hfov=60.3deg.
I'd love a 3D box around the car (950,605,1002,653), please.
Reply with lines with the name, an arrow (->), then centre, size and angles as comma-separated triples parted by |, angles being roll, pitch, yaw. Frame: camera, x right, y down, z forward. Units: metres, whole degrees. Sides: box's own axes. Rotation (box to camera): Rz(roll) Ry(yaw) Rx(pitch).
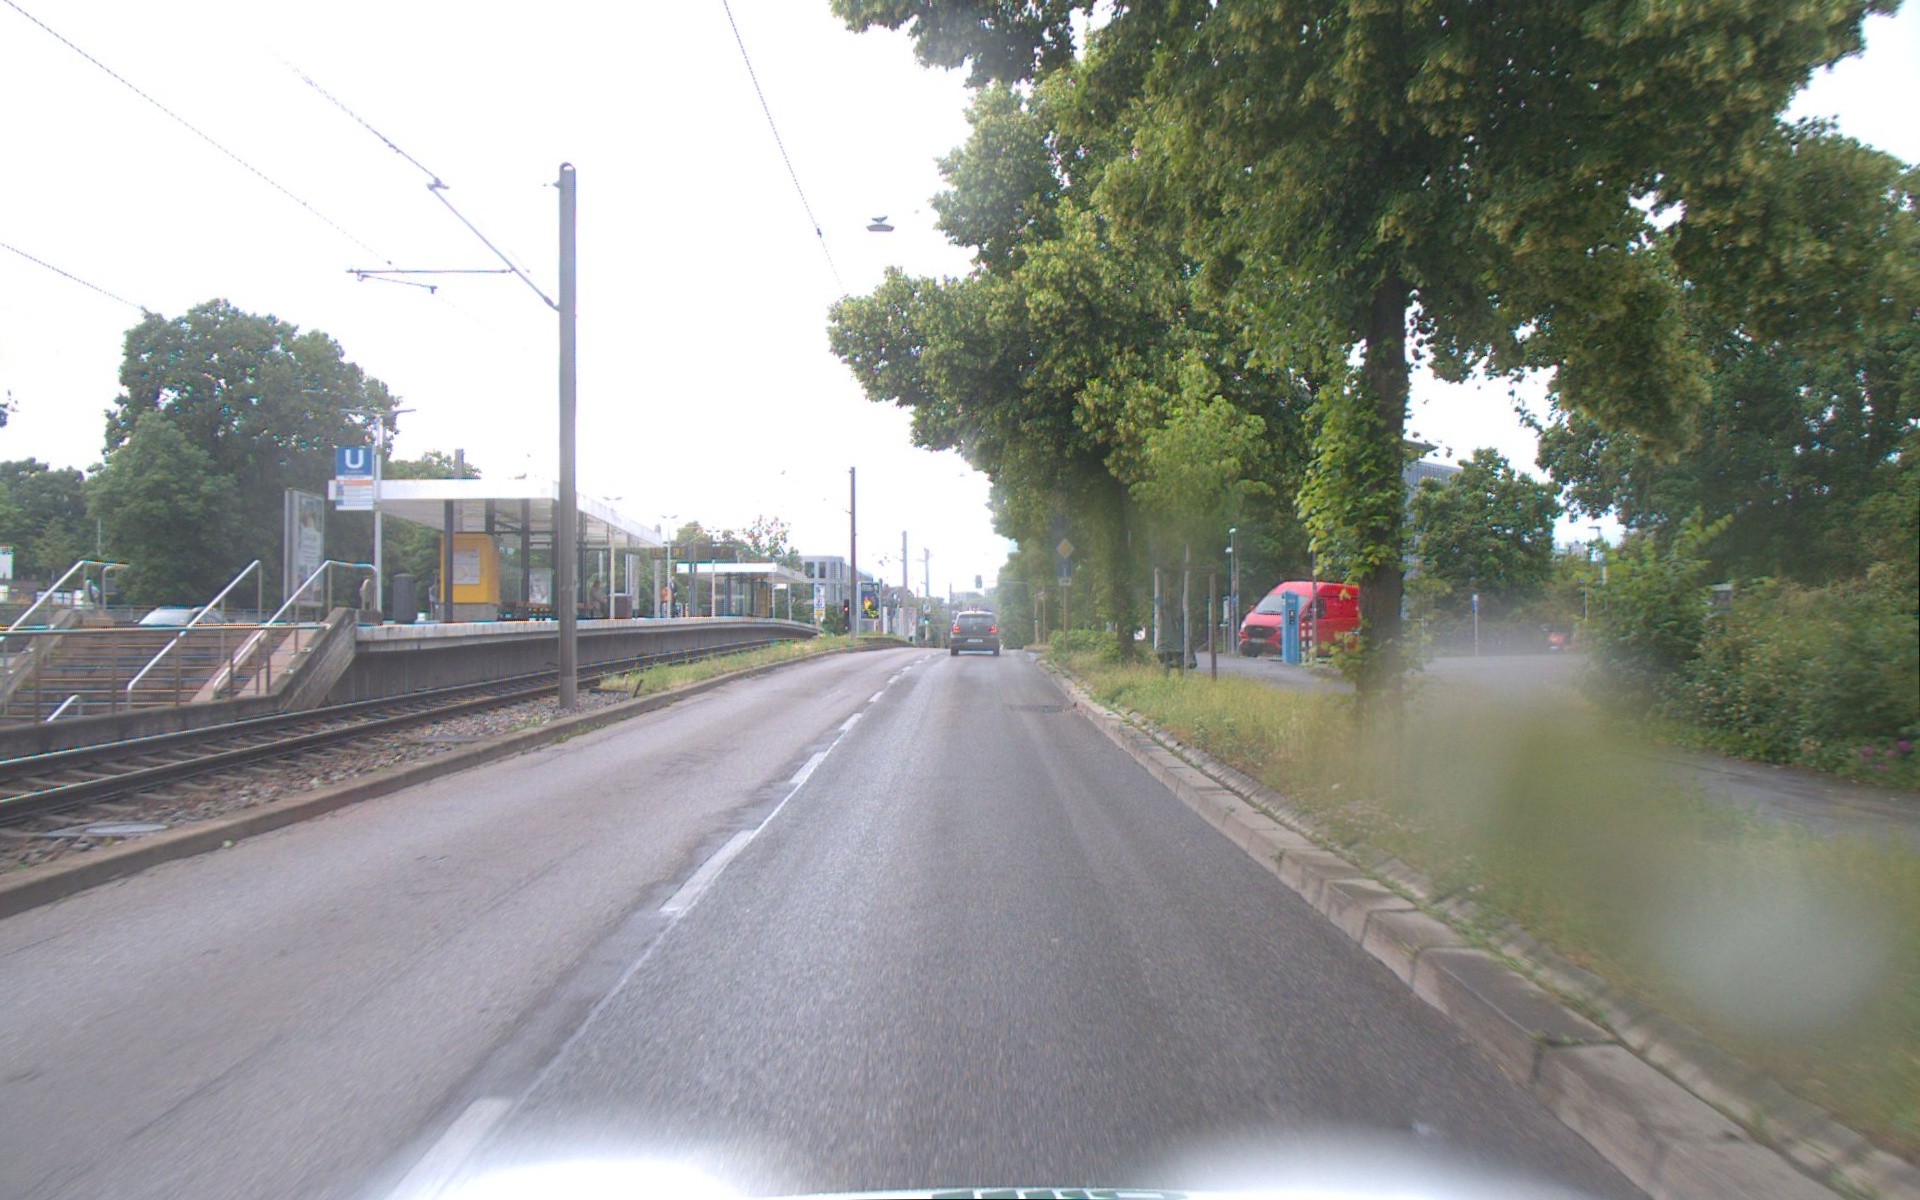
car -> 0.549, 0.954, 55.890 | 1.691, 1.567, 4.000 | 0, 0, 0

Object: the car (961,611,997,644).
car -> 0.893, 1.280, 78.404 | 1.653, 1.544, 4.000 | 0, 0, 0

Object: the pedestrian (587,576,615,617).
pedestrian -> -10.975, -0.096, 50.610 | 0.696, 1.247, 0.619 | 1, -1, 1

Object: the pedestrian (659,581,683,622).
pedestrian -> -12.046, 0.057, 68.876 | 0.783, 1.676, 0.913 | 2, 1, -20

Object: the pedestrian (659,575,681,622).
pedestrian -> -12.248, -0.078, 69.795 | 0.732, 1.943, 0.837 | 2, 0, -20

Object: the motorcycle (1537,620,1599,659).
motorcycle -> 21.198, 1.372, 57.715 | 1.986, 1.235, 0.471 | -4, -9, 40

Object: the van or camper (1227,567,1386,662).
van or camper -> 10.262, 0.462, 48.667 | 2.006, 2.448, 5.356 | 4, -1, 43
